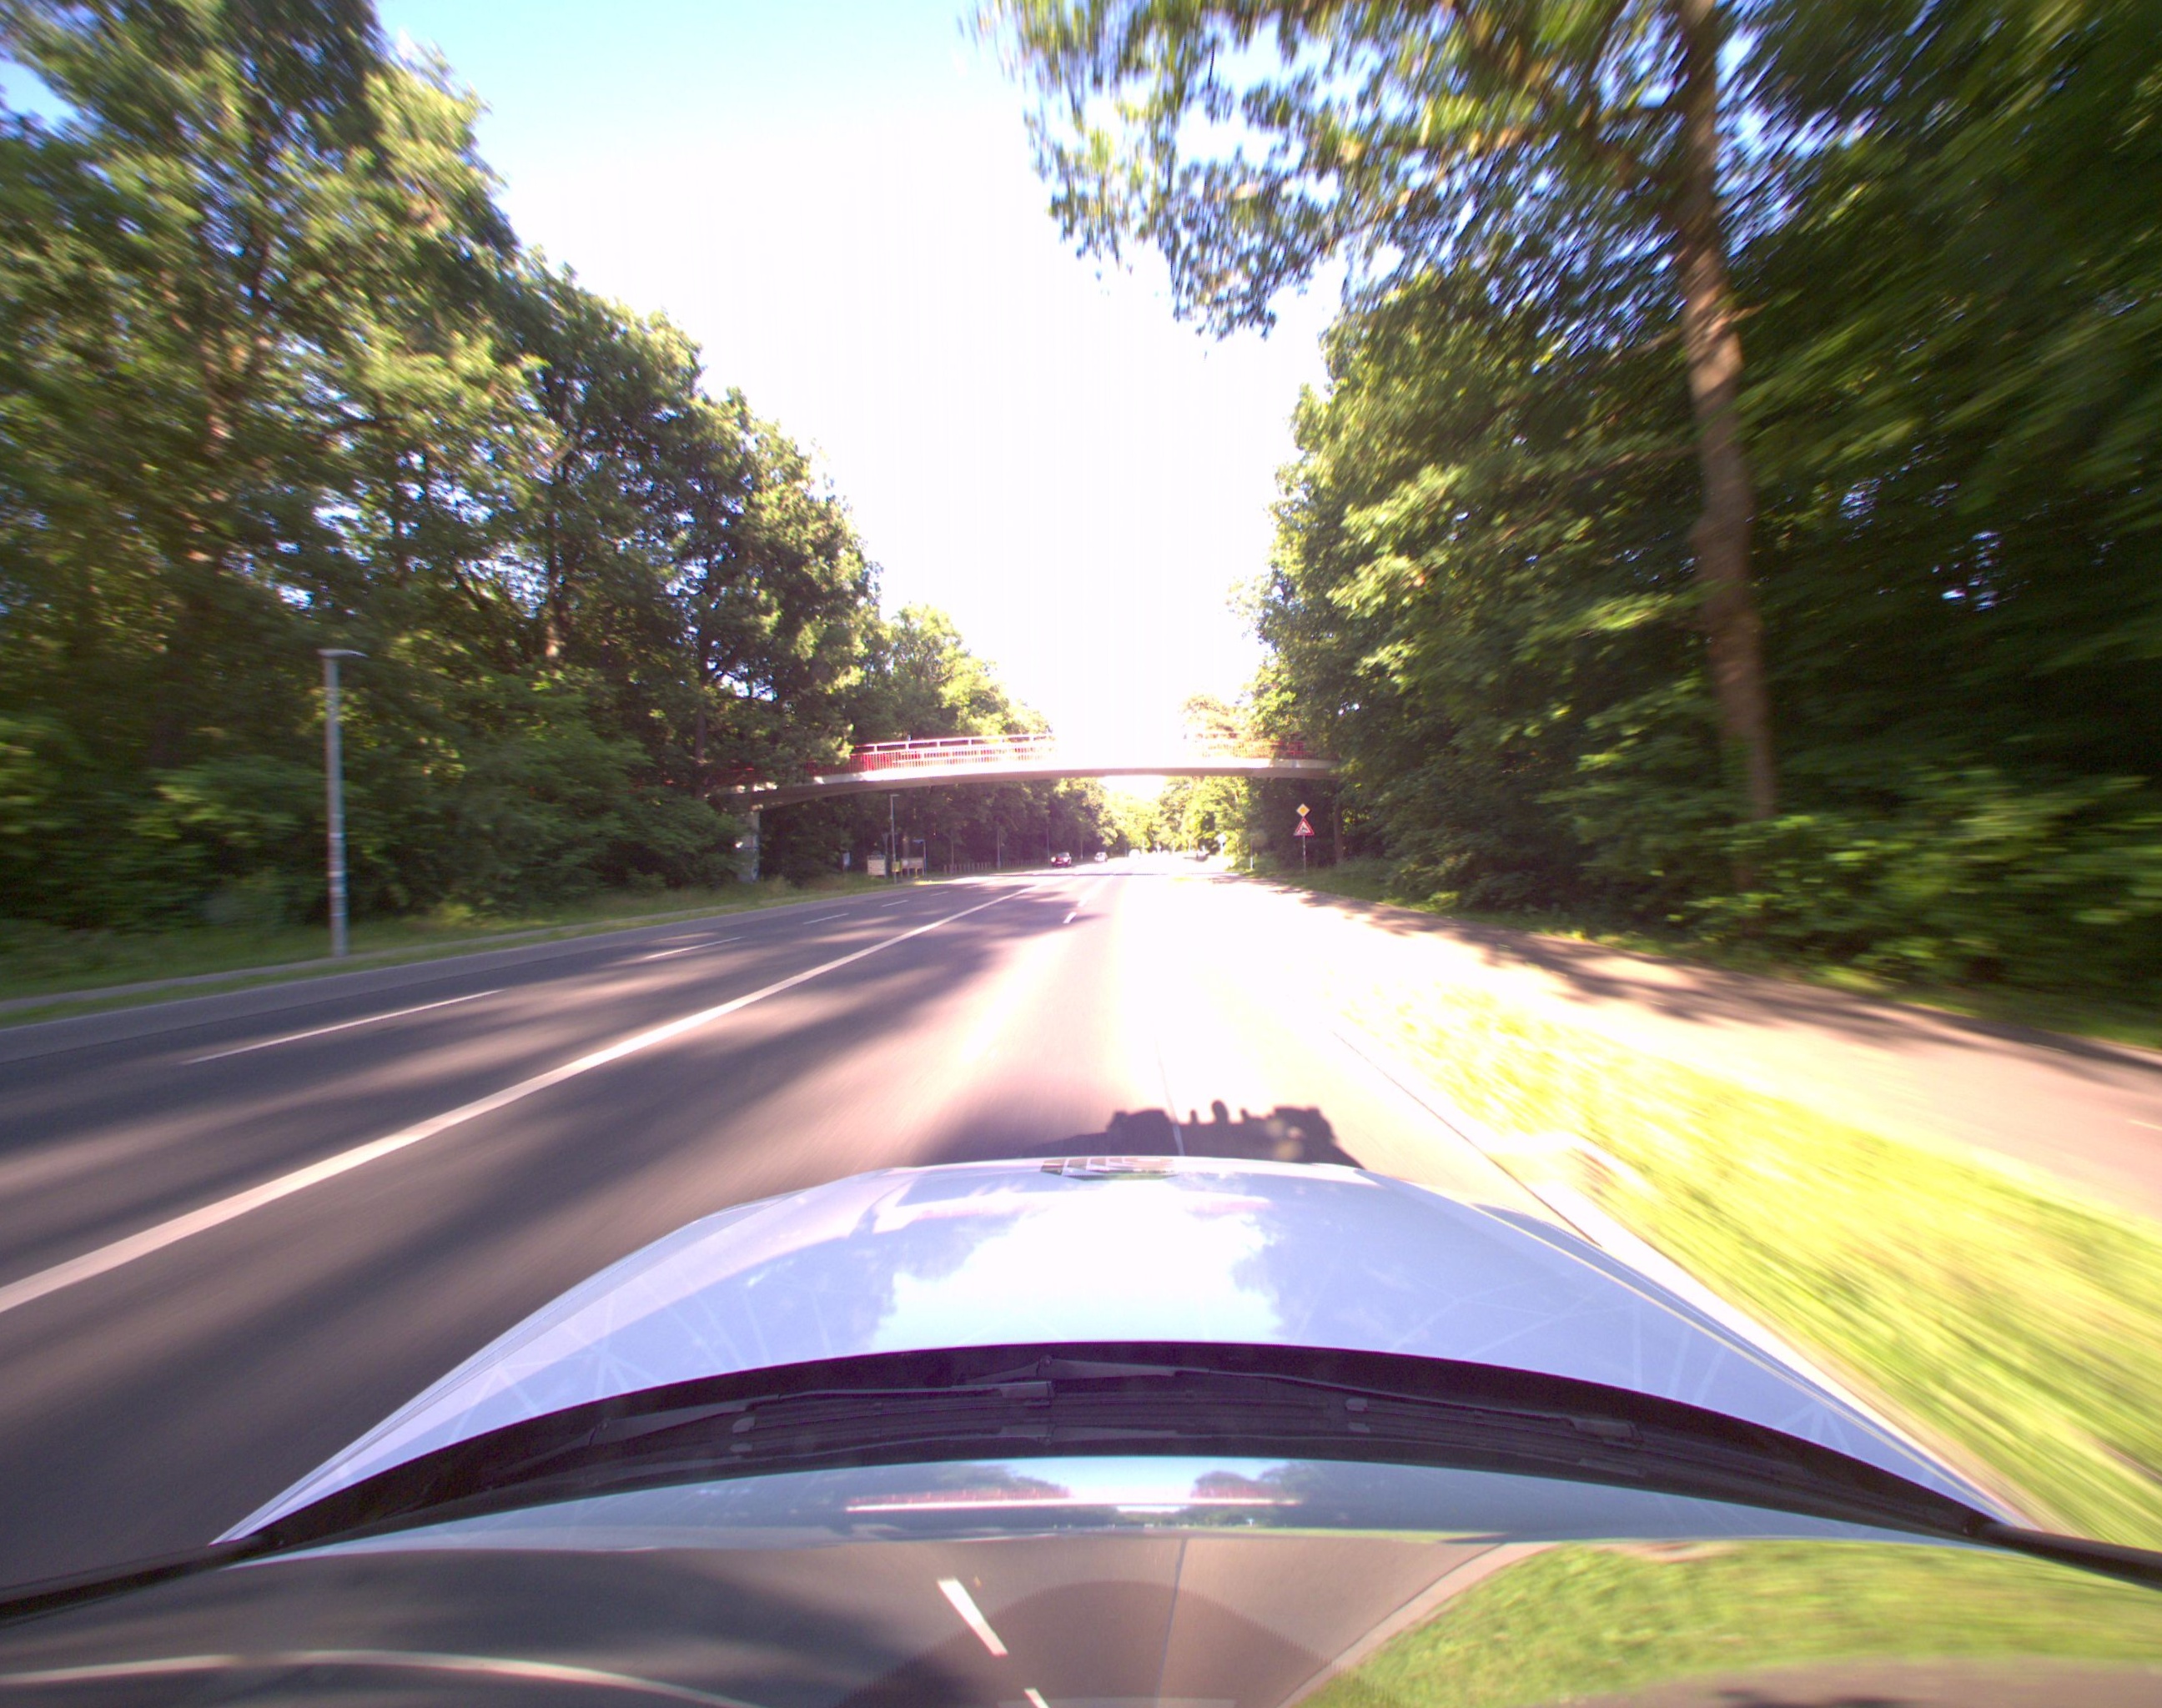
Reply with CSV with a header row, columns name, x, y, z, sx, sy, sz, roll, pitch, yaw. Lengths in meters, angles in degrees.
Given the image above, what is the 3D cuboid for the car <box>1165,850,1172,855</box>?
name,x,y,z,sx,sy,sz,roll,pitch,yaw
car,26.944,-0.449,250.552,1.773,1.709,4.011,-1,0,9

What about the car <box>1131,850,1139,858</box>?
name,x,y,z,sx,sy,sz,roll,pitch,yaw
car,12.082,-0.021,181.743,1.697,1.709,4.005,-1,0,4

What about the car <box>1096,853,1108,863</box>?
name,x,y,z,sx,sy,sz,roll,pitch,yaw
car,3.363,0.568,129.784,1.714,1.574,4.184,0,1,5

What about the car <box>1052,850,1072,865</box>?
name,x,y,z,sx,sy,sz,roll,pitch,yaw
car,-2.095,0.342,89.849,1.753,1.582,4.174,0,0,5
